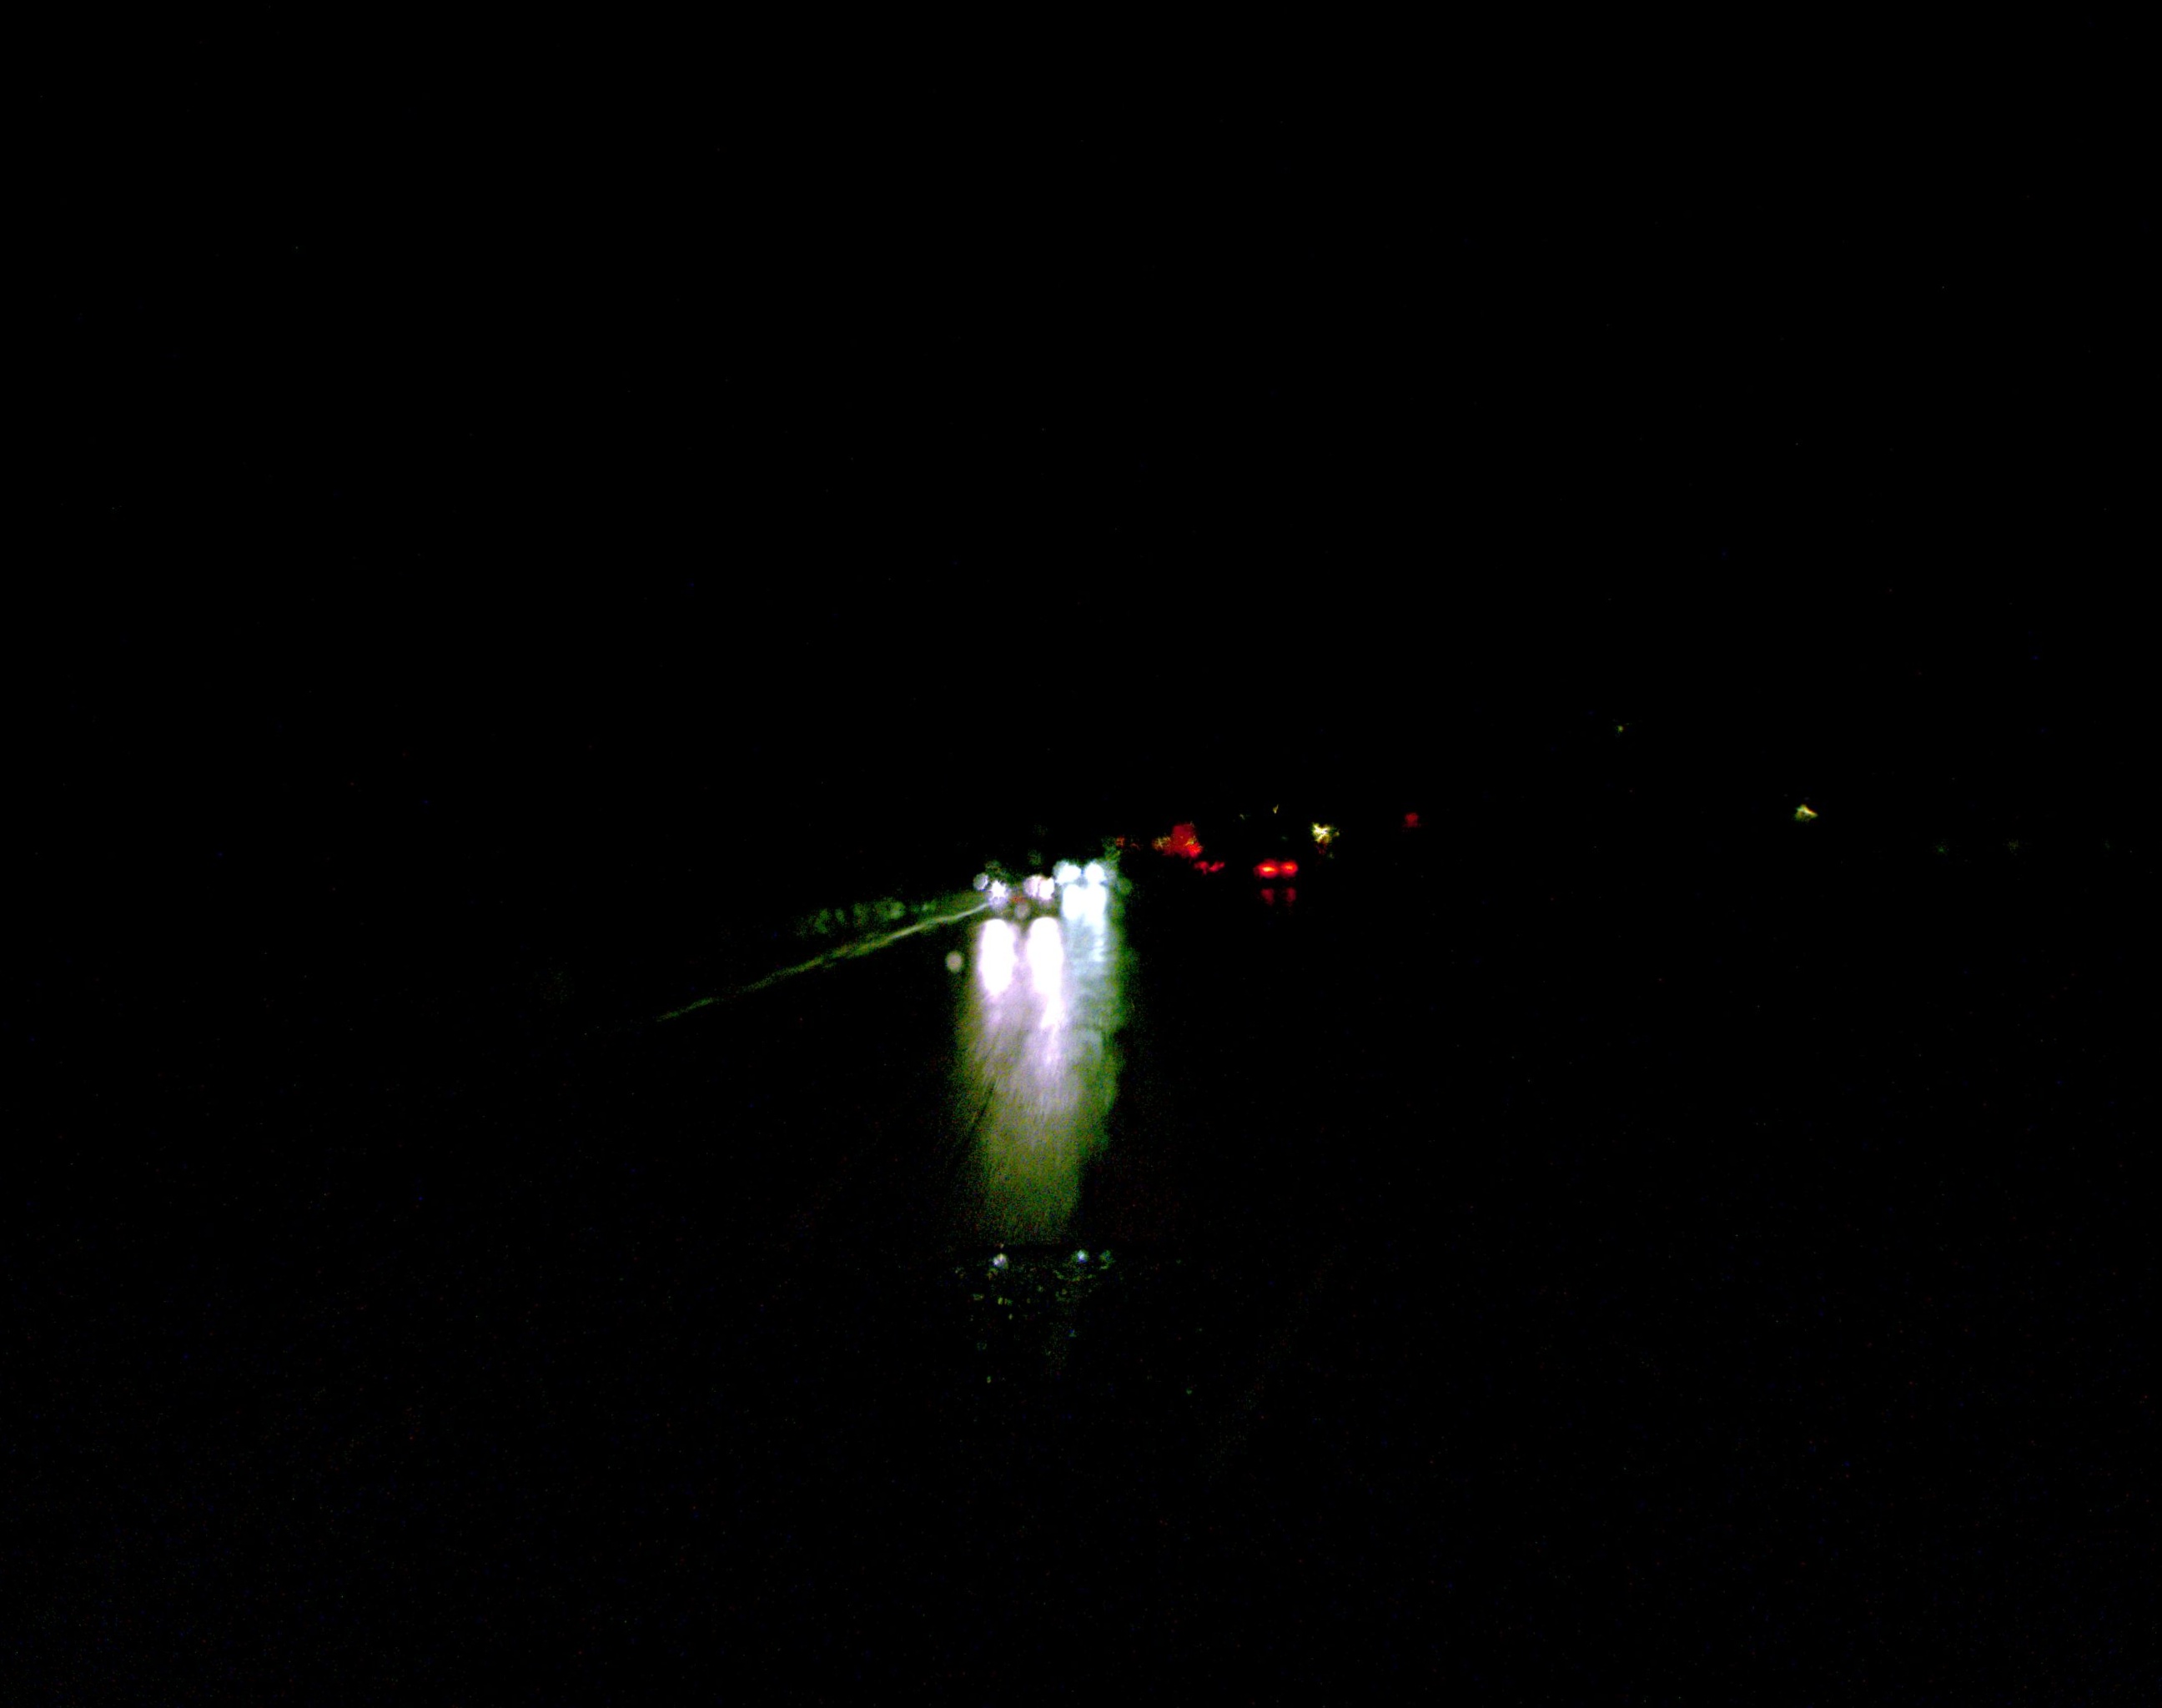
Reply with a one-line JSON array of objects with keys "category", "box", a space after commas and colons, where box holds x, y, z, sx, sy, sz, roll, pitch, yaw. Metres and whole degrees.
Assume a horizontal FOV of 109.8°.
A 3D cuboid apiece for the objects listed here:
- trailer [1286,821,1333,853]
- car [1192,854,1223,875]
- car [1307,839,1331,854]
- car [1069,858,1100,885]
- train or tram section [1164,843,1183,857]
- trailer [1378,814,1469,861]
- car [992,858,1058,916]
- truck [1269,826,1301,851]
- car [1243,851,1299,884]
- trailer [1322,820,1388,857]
[{"category": "trailer", "box": [40.482, -3.020, 135.476, 3.980, 4.984, 14.834, -6, 1, 2]}, {"category": "car", "box": [10.301, 0.828, 62.118, 1.806, 1.579, 4.030, -3, 1, 0]}, {"category": "car", "box": [30.694, -0.968, 98.108, 1.790, 1.684, 4.219, -4, 0, 1]}, {"category": "car", "box": [0.189, 1.106, 50.120, 1.788, 1.638, 4.435, -3, 0, -2]}, {"category": "train or tram section", "box": [29.905, -1.629, 248.213, 2.703, 3.793, 37.143, -6, 1, 2]}, {"category": "trailer", "box": [38.971, -1.895, 87.393, 3.980, 4.583, 14.246, -6, 1, 2]}, {"category": "car", "box": [-1.761, 0.999, 25.127, 1.791, 1.684, 4.218, -2, 0, 0]}, {"category": "truck", "box": [40.903, -3.071, 152.603, 3.447, 4.583, 10.212, -6, 1, 2]}, {"category": "car", "box": [10.388, 0.704, 41.968, 1.766, 1.632, 4.652, -3, 0, -1]}, {"category": "trailer", "box": [39.147, -2.201, 109.414, 3.980, 4.583, 15.514, -6, 1, 2]}]
